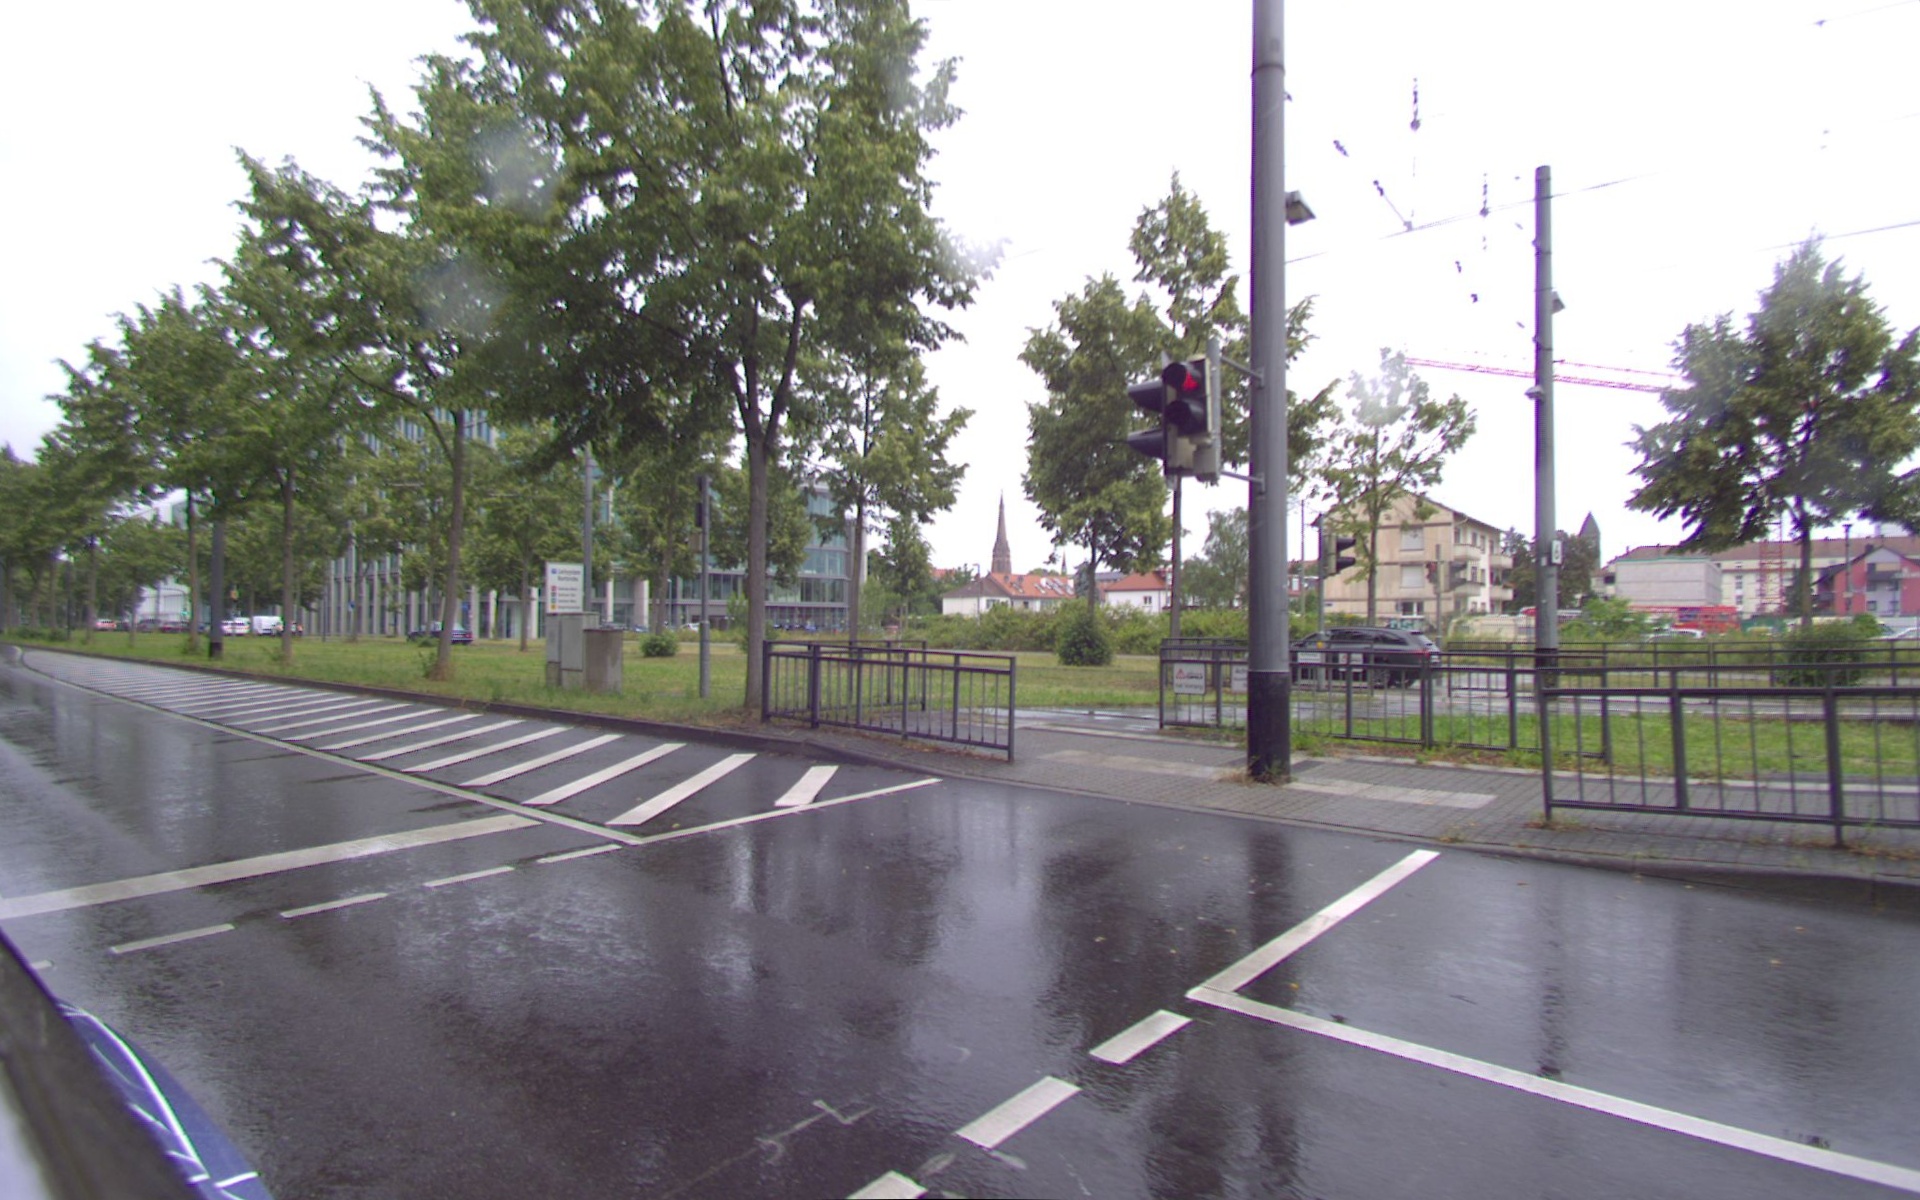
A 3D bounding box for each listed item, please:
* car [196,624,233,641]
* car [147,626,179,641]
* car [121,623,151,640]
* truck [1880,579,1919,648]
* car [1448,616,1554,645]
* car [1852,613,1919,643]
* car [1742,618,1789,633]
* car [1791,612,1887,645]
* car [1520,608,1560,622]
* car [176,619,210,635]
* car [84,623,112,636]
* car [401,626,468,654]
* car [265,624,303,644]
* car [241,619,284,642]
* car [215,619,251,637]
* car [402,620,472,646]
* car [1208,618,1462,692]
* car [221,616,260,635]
[{"bbox_3d":[-71.029,3.072,96.399,4.574,1.525,1.930,-1,-1,41],"label":"car"},{"bbox_3d":[-86.158,3.626,109.376,4.601,1.396,1.930,-4,-4,41],"label":"car"},{"bbox_3d":[-94.179,3.600,115.707,4.541,1.863,1.930,-3,-3,41],"label":"car"},{"bbox_3d":[82.570,0.862,79.683,13.216,5.437,6.158,-3,-3,21],"label":"truck"},{"bbox_3d":[35.055,2.023,65.687,5.771,1.685,2.026,-4,-4,40],"label":"car"},{"bbox_3d":[51.825,1.529,55.870,3.811,1.531,1.722,-4,-4,41],"label":"car"},{"bbox_3d":[86.275,2.745,108.437,3.811,1.531,1.722,-4,-4,41],"label":"car"},{"bbox_3d":[52.896,1.726,60.977,3.985,1.830,1.810,-3,-3,31],"label":"car"},{"bbox_3d":[56.816,1.464,99.190,3.248,1.222,1.471,-3,-3,24],"label":"car"},{"bbox_3d":[-77.687,2.739,102.498,3.958,1.506,1.931,-4,-4,39],"label":"car"},{"bbox_3d":[-101.152,3.412,118.752,4.574,1.463,1.930,-1,-1,41],"label":"car"},{"bbox_3d":[-27.961,2.098,53.763,4.975,1.307,1.472,0,-1,41],"label":"car"},{"bbox_3d":[-60.503,3.026,90.521,4.578,1.762,1.928,-1,-2,45],"label":"car"},{"bbox_3d":[-66.306,2.926,96.205,5.372,2.022,2.243,-4,-4,43],"label":"car"},{"bbox_3d":[-66.092,2.590,91.963,1.928,1.472,4.833,1,-4,-45],"label":"car"},{"bbox_3d":[-27.680,1.751,53.487,4.847,1.276,1.533,-3,-3,40],"label":"car"},{"bbox_3d":[9.042,1.266,24.738,5.495,1.620,1.931,-1,-2,39],"label":"car"},{"bbox_3d":[-72.164,2.547,101.476,5.025,1.664,1.931,-4,-4,40],"label":"car"}]
